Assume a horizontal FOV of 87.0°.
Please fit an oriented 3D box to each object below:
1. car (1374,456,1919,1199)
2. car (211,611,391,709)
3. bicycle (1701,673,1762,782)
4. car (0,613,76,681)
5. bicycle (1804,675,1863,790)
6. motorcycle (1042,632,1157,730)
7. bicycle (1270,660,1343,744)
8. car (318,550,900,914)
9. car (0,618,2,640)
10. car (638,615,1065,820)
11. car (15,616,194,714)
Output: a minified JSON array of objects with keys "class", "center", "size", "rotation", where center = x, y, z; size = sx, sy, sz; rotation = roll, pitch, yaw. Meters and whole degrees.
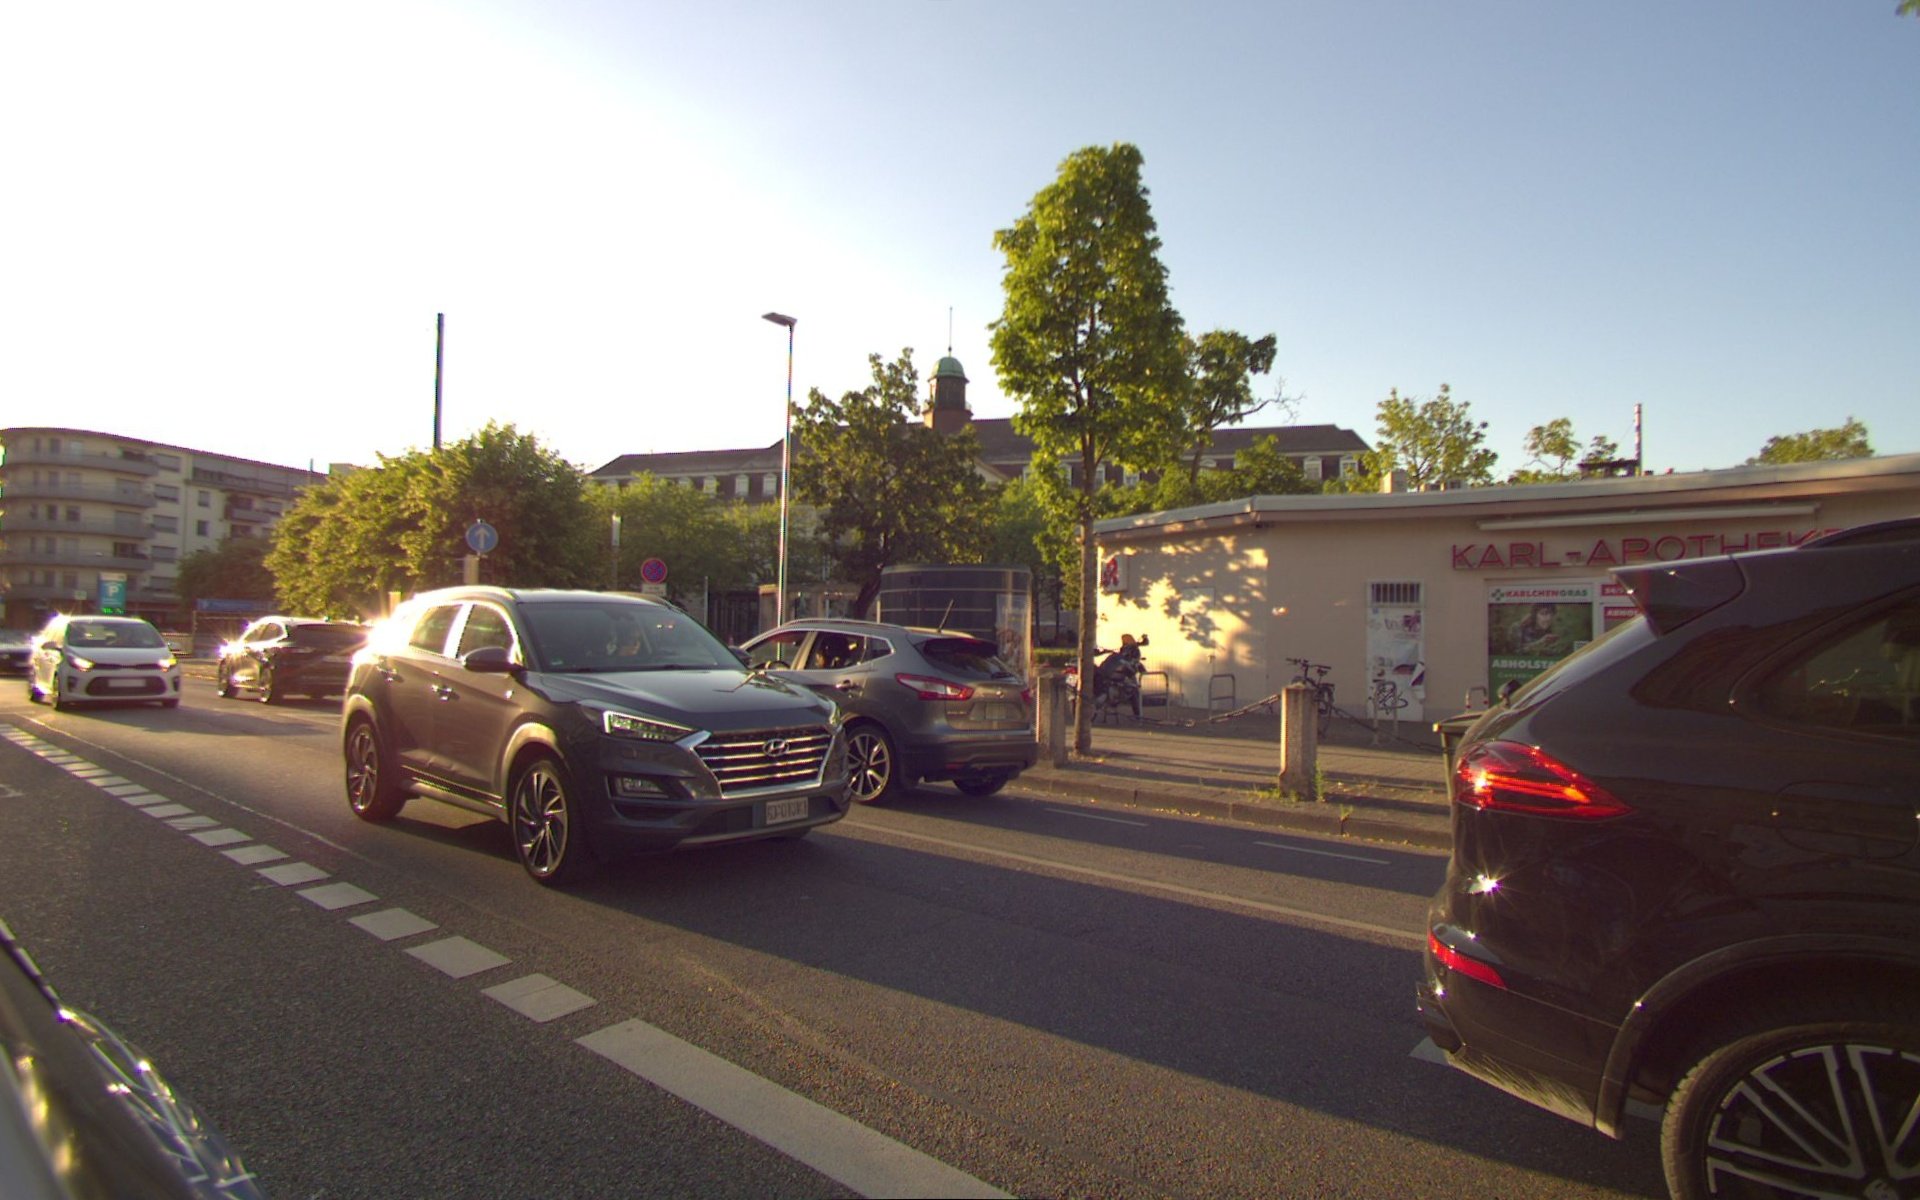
[{"class":"car","center":[3.300,0.601,1.620],"size":[4.566,1.711,1.782],"rotation":[-1,-3,41]},{"class":"car","center":[-12.986,1.162,19.874],"size":[3.982,1.711,1.804],"rotation":[-1,-6,41]},{"class":"bicycle","center":[8.817,1.407,11.545],"size":[0.448,1.122,1.846],"rotation":[0,-3,40]},{"class":"car","center":[-26.019,1.286,27.936],"size":[3.983,1.754,1.804],"rotation":[-1,-5,41]},{"class":"bicycle","center":[9.537,1.396,11.068],"size":[0.448,1.122,1.846],"rotation":[0,-3,40]},{"class":"motorcycle","center":[2.288,1.273,16.277],"size":[0.700,1.457,2.369],"rotation":[-1,-3,39]},{"class":"bicycle","center":[4.988,1.426,14.500],"size":[0.395,1.111,1.788],"rotation":[-1,-3,39]},{"class":"car","center":[-2.569,0.692,6.861],"size":[4.257,1.711,1.804],"rotation":[-1,-3,41]},{"class":"car","center":[-33.585,1.426,33.819],"size":[3.983,1.754,1.804],"rotation":[-1,-5,41]},{"class":"car","center":[-1.165,1.025,9.903],"size":[3.996,1.593,1.804],"rotation":[-1,-6,39]},{"class":"car","center":[-14.710,1.057,17.333],"size":[3.983,1.483,1.696],"rotation":[-1,-3,41]}]
